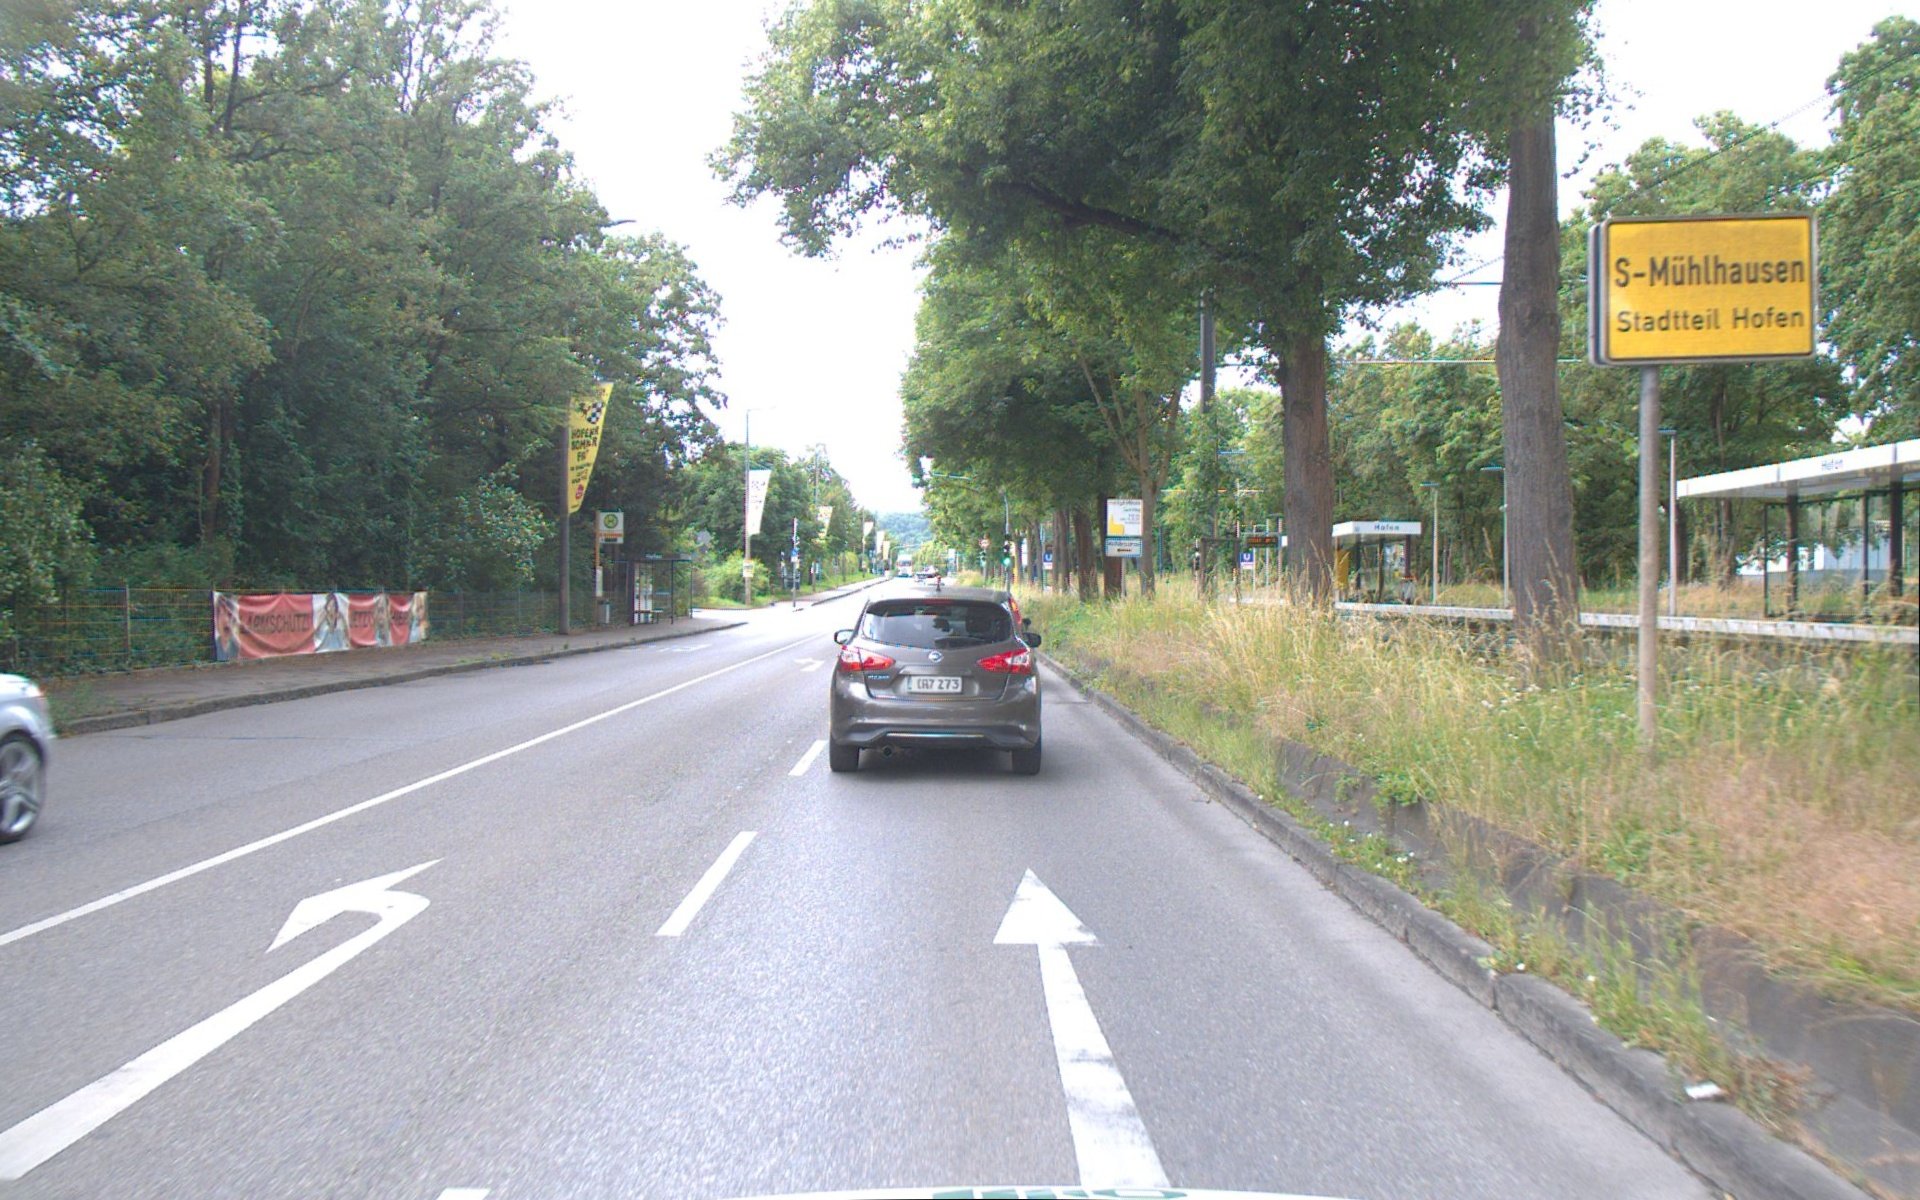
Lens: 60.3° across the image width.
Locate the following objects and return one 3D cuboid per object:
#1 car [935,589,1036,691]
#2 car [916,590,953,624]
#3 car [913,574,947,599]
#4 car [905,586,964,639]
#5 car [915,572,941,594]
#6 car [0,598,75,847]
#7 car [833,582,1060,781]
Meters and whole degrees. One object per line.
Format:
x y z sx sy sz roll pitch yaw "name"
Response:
0.350 0.575 26.037 1.471 1.466 3.541 1 1 -1 "car"
-1.153 0.292 74.769 1.657 1.466 3.541 1 1 -1 "car"
-1.771 -0.808 98.188 1.953 1.344 3.999 2 0 -1 "car"
-0.744 0.345 48.484 1.657 1.466 3.541 1 1 -1 "car"
-2.522 -1.350 129.805 1.953 1.601 3.999 2 0 -1 "car"
-6.100 0.671 7.935 1.722 1.360 3.696 0 0 0 "car"
-0.113 0.625 14.683 1.747 1.533 3.696 0 0 0 "car"
